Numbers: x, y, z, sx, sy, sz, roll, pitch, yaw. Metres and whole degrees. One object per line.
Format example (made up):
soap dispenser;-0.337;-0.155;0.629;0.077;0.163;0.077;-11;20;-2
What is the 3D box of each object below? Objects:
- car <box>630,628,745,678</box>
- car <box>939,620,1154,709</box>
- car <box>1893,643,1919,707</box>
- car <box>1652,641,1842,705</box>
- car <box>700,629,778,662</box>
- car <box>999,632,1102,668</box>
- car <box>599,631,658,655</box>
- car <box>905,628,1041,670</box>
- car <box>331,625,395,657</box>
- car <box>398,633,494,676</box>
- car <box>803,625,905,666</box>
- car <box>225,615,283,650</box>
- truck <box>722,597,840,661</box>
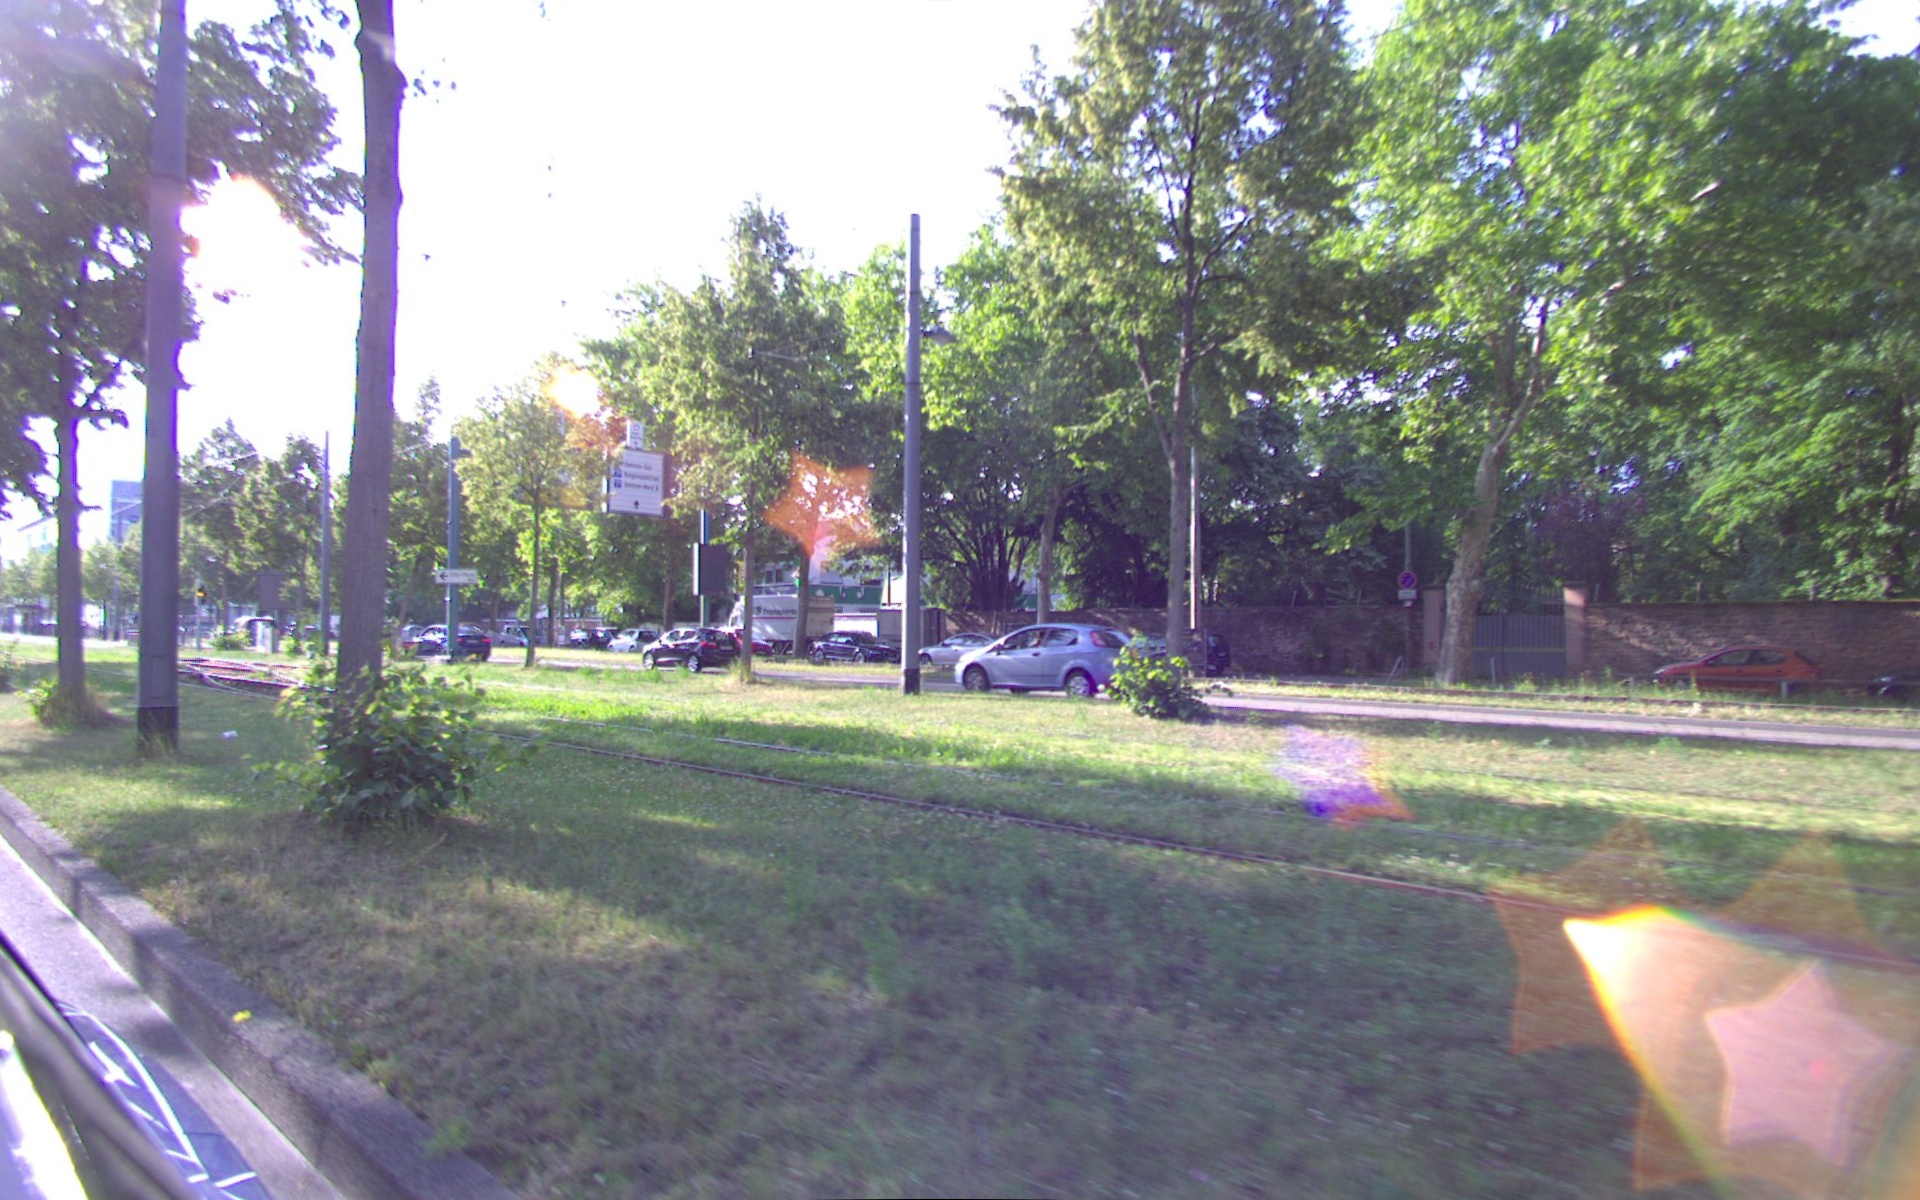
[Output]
car;-8.931;1.686;33.080;4.033;1.446;1.664;-1;0;41
car;1.644;1.194;20.138;4.130;1.544;1.594;-1;0;41
car;24.683;1.804;23.534;4.361;1.453;1.767;-1;0;43
car;21.188;1.900;27.332;3.912;1.453;1.699;-1;0;43
car;-9.898;2.002;45.162;1.564;1.286;3.964;-1;0;-43
car;3.865;2.118;43.676;4.387;1.386;1.678;-1;0;44
car;-17.373;2.220;52.965;3.772;1.116;1.284;-1;0;43
car;0.382;1.670;35.374;4.899;1.253;1.658;-1;0;42
car;-30.714;2.089;52.051;3.927;1.536;1.664;-1;-1;40
car;-19.803;2.043;38.874;4.668;1.446;1.664;-1;0;41
car;-4.137;1.715;39.250;3.957;1.442;1.653;-1;0;40
car;-39.796;1.787;57.009;4.216;1.878;1.664;-1;0;40
truck;-10.719;1.615;59.980;2.855;3.542;7.949;-1;0;-45
